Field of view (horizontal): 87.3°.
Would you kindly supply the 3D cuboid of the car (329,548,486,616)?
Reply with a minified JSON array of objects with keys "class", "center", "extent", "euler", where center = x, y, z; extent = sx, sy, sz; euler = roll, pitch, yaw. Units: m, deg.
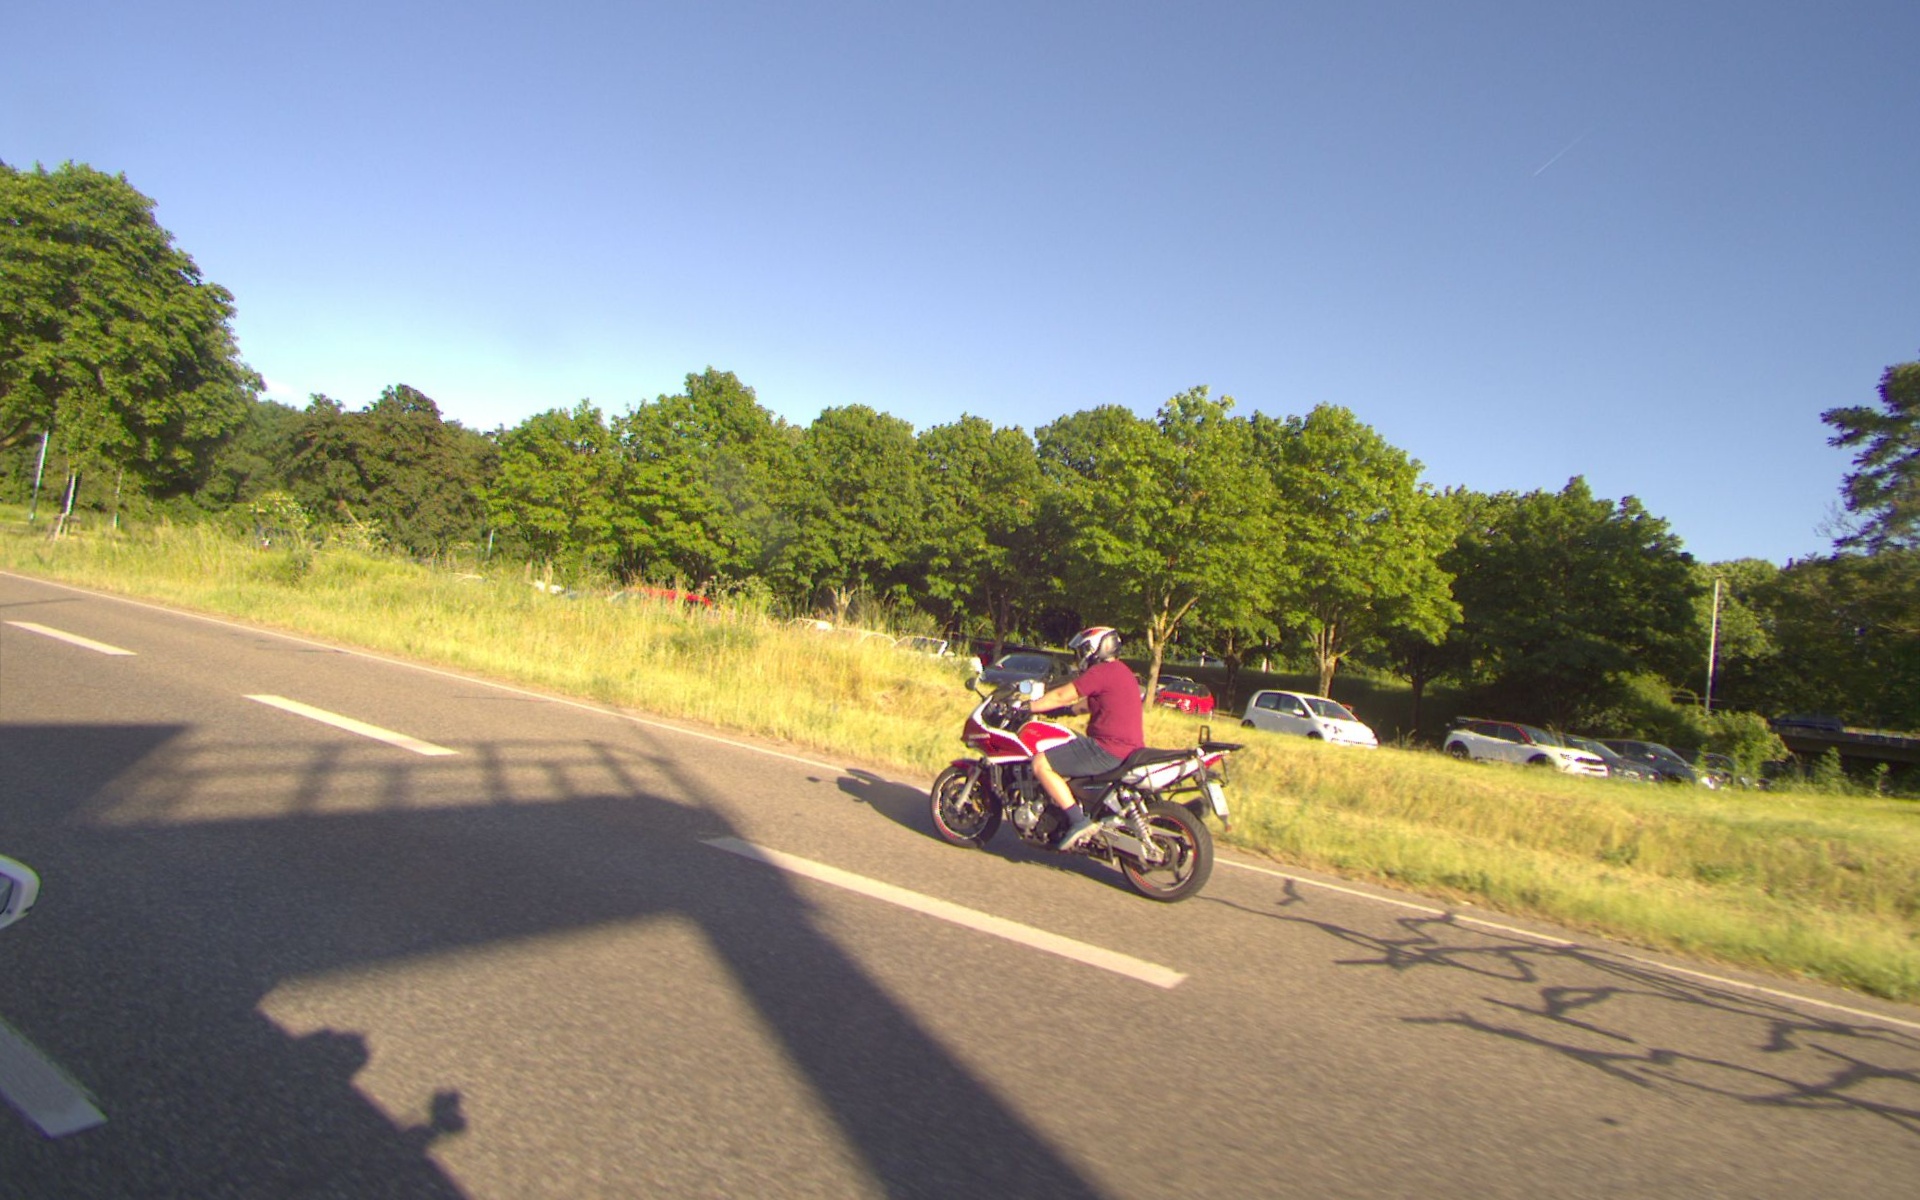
[{"class":"car","center":[-21.450,-0.656,39.289],"extent":[2.185,1.695,4.879],"euler":[6,-6,25]}]

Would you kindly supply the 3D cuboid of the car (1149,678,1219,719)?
[{"class":"car","center":[9.260,4.080,41.389],"extent":[1.834,1.439,4.125],"euler":[4,-5,26]}]

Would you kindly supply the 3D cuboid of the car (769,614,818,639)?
[{"class":"car","center":[-14.316,2.299,86.672],"extent":[3.932,1.594,1.909],"euler":[9,-2,-7]}]

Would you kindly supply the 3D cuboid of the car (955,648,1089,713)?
[{"class":"car","center":[1.664,2.082,25.418],"extent":[1.891,1.320,4.001],"euler":[3,-5,27]}]

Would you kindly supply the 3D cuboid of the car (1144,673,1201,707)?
[{"class":"car","center":[11.120,4.721,52.476],"extent":[1.834,1.439,4.125],"euler":[4,-5,26]}]

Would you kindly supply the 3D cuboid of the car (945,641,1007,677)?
[{"class":"car","center":[1.000,3.500,58.748],"extent":[1.911,1.796,4.601],"euler":[5,-2,22]}]

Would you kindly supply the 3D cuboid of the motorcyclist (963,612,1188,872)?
[{"class":"motorcyclist","center":[0.773,0.899,6.664],"extent":[1.075,1.464,0.818],"euler":[6,-2,32]}]

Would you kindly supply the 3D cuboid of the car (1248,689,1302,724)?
[{"class":"car","center":[15.473,5.240,49.339],"extent":[1.834,1.439,4.125],"euler":[4,-5,26]}]

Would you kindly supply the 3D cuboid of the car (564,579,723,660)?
[{"class":"car","center":[-10.061,0.704,32.434],"extent":[1.991,2.045,4.806],"euler":[4,-5,26]}]

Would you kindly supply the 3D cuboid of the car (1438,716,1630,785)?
[{"class":"car","center":[15.369,4.018,27.175],"extent":[1.974,1.320,4.092],"euler":[7,-4,-24]}]

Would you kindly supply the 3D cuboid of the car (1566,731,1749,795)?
[{"class":"car","center":[20.357,4.741,29.526],"extent":[1.900,1.320,3.982],"euler":[7,-4,-24]}]

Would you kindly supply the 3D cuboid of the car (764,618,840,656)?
[{"class":"car","center":[-10.157,2.436,65.018],"extent":[1.923,1.886,5.205],"euler":[6,-3,28]}]

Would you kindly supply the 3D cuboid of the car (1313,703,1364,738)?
[{"class":"car","center":[18.120,5.760,48.075],"extent":[1.834,1.439,4.125],"euler":[4,-5,26]}]

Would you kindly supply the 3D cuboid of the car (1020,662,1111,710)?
[{"class":"car","center":[3.881,3.130,36.285],"extent":[1.891,1.439,4.125],"euler":[4,-5,26]}]

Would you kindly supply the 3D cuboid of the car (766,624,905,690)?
[{"class":"car","center":[-3.360,1.632,28.004],"extent":[1.891,1.475,3.945],"euler":[4,-5,26]}]

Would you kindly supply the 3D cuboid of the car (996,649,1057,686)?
[{"class":"car","center":[3.820,3.863,57.189],"extent":[1.757,1.576,4.228],"euler":[5,-5,29]}]

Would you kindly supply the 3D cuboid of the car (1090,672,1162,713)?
[{"class":"car","center":[7.065,3.931,42.500],"extent":[1.834,1.439,4.125],"euler":[4,-5,26]}]

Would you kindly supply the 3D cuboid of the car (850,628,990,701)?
[{"class":"car","center":[-0.964,1.775,26.792],"extent":[1.891,1.576,4.125],"euler":[4,-5,26]}]

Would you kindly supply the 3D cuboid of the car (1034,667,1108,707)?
[{"class":"car","center":[4.899,3.830,44.007],"extent":[1.834,1.439,4.125],"euler":[4,-5,26]}]

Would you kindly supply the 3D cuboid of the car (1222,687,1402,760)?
[{"class":"car","center":[8.481,2.959,24.592],"extent":[1.964,1.320,3.987],"euler":[7,-4,-21]}]

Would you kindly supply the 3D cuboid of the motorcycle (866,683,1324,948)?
[{"class":"motorcycle","center":[0.798,1.287,6.602],"extent":[2.789,1.082,0.818],"euler":[6,-2,32]}]

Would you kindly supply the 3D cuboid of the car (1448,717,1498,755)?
[{"class":"car","center":[23.028,6.077,45.242],"extent":[1.834,1.439,4.125],"euler":[4,-5,26]}]

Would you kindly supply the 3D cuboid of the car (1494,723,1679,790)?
[{"class":"car","center":[17.476,4.344,28.259],"extent":[1.900,1.320,3.982],"euler":[7,-4,-24]}]

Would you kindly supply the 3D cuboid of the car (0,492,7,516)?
[{"class":"car","center":[-78.958,-7.995,80.044],"extent":[3.939,1.845,1.898],"euler":[8,-1,-16]}]
